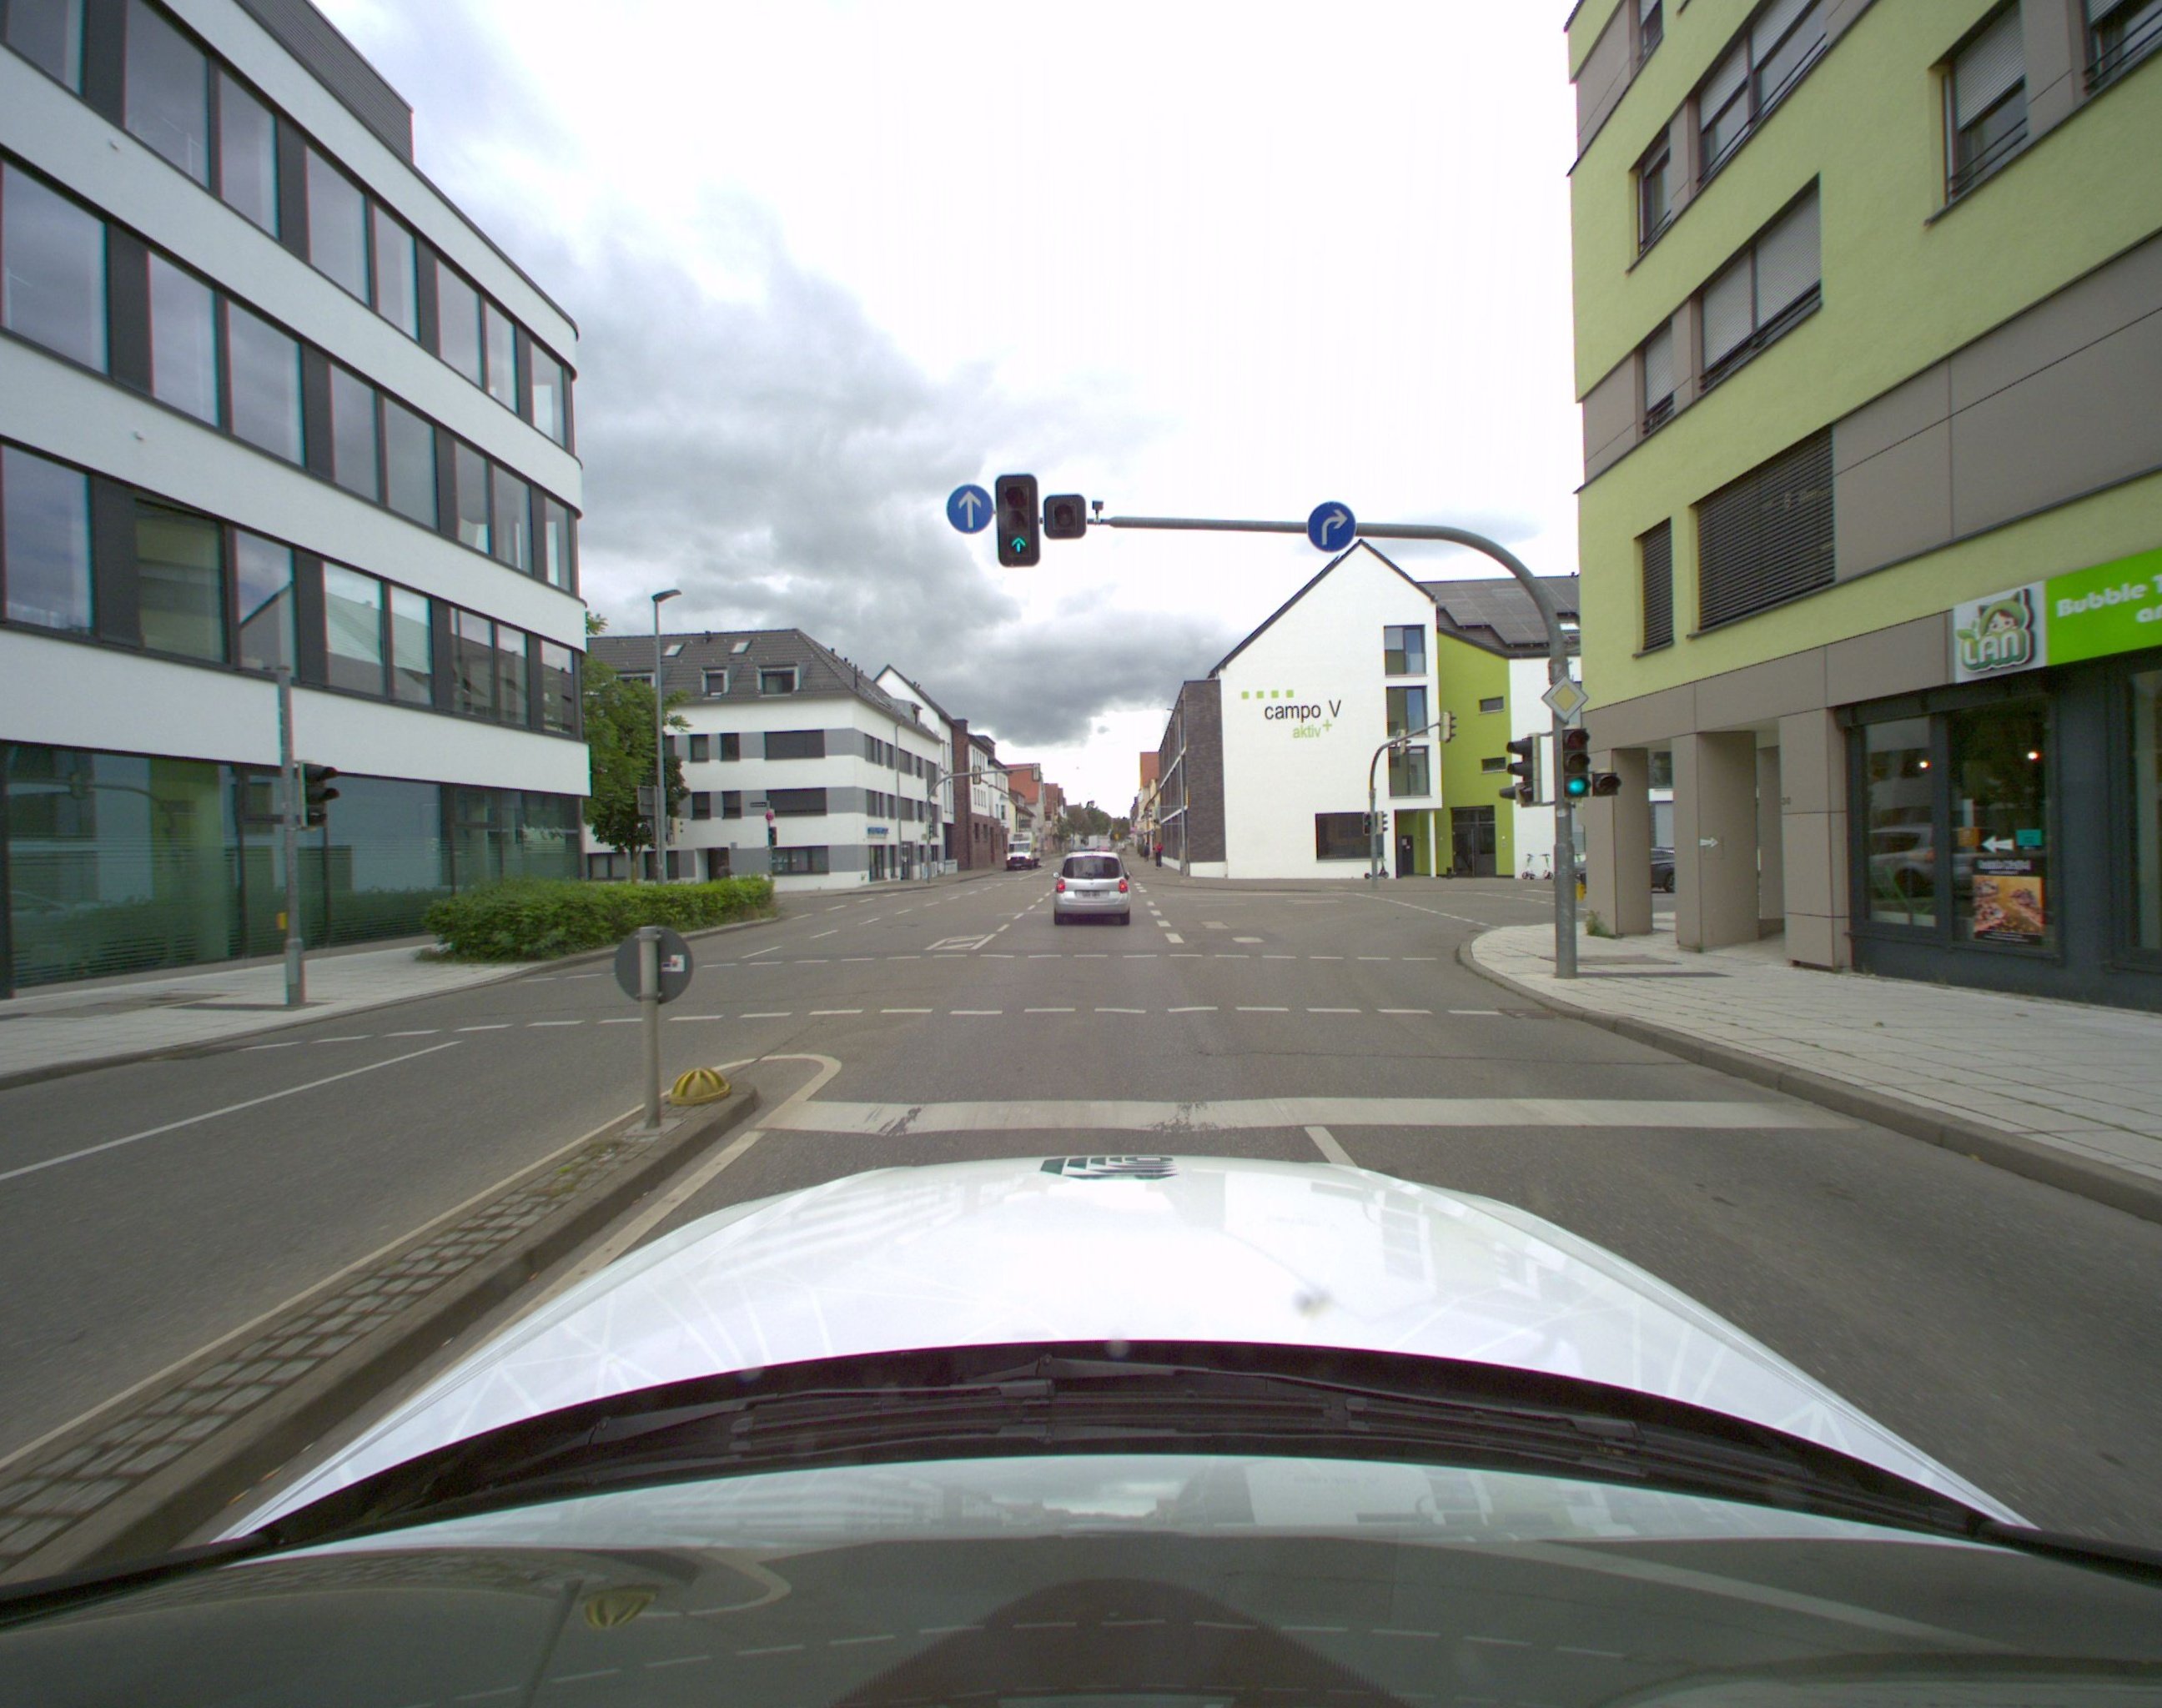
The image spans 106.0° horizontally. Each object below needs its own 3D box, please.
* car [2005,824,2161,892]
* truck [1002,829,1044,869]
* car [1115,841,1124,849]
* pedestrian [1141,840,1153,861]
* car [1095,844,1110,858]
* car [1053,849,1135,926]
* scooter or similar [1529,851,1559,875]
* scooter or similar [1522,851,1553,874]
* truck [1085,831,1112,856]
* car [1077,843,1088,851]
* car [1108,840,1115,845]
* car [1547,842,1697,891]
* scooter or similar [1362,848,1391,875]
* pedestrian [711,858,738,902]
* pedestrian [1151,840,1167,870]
[{"bbox_3d":[26.571,0.074,20.557,4.397,1.615,1.969,0,1,-1],"label":"car"},{"bbox_3d":[-4.639,-0.445,66.396,2.426,2.953,8.368,-3,1,2],"label":"truck"},{"bbox_3d":[7.825,-1.856,165.377,1.805,1.354,4.003,-3,1,3],"label":"car"},{"bbox_3d":[5.758,-0.316,71.264,0.886,1.786,0.785,-5,1,2],"label":"pedestrian"},{"bbox_3d":[2.566,-0.364,95.773,1.700,1.579,4.002,0,1,2],"label":"car"},{"bbox_3d":[0.332,0.688,19.012,1.700,1.579,4.002,0,1,2],"label":"car"},{"bbox_3d":[21.213,0.400,37.332,1.228,1.079,0.363,-1,0,-10],"label":"scooter or similar"},{"bbox_3d":[21.348,0.402,38.113,1.221,1.079,0.365,-1,0,8],"label":"scooter or similar"},{"bbox_3d":[2.854,-1.750,134.866,2.599,3.857,6.815,-2,1,-14],"label":"truck"},{"bbox_3d":[0.264,-1.400,158.421,1.805,1.354,4.003,-3,1,3],"label":"car"},{"bbox_3d":[8.589,-3.111,226.228,1.805,1.354,4.003,-3,1,3],"label":"car"},{"bbox_3d":[19.226,0.411,29.071,4.072,1.659,1.953,0,1,1],"label":"car"},{"bbox_3d":[13.970,0.347,38.538,1.225,1.235,0.407,0,1,2],"label":"scooter or similar"},{"bbox_3d":[-14.446,1.056,32.969,0.886,1.669,0.807,-4,3,-26],"label":"pedestrian"},{"bbox_3d":[4.941,0.045,51.573,0.804,1.786,0.862,-5,1,2],"label":"pedestrian"}]
